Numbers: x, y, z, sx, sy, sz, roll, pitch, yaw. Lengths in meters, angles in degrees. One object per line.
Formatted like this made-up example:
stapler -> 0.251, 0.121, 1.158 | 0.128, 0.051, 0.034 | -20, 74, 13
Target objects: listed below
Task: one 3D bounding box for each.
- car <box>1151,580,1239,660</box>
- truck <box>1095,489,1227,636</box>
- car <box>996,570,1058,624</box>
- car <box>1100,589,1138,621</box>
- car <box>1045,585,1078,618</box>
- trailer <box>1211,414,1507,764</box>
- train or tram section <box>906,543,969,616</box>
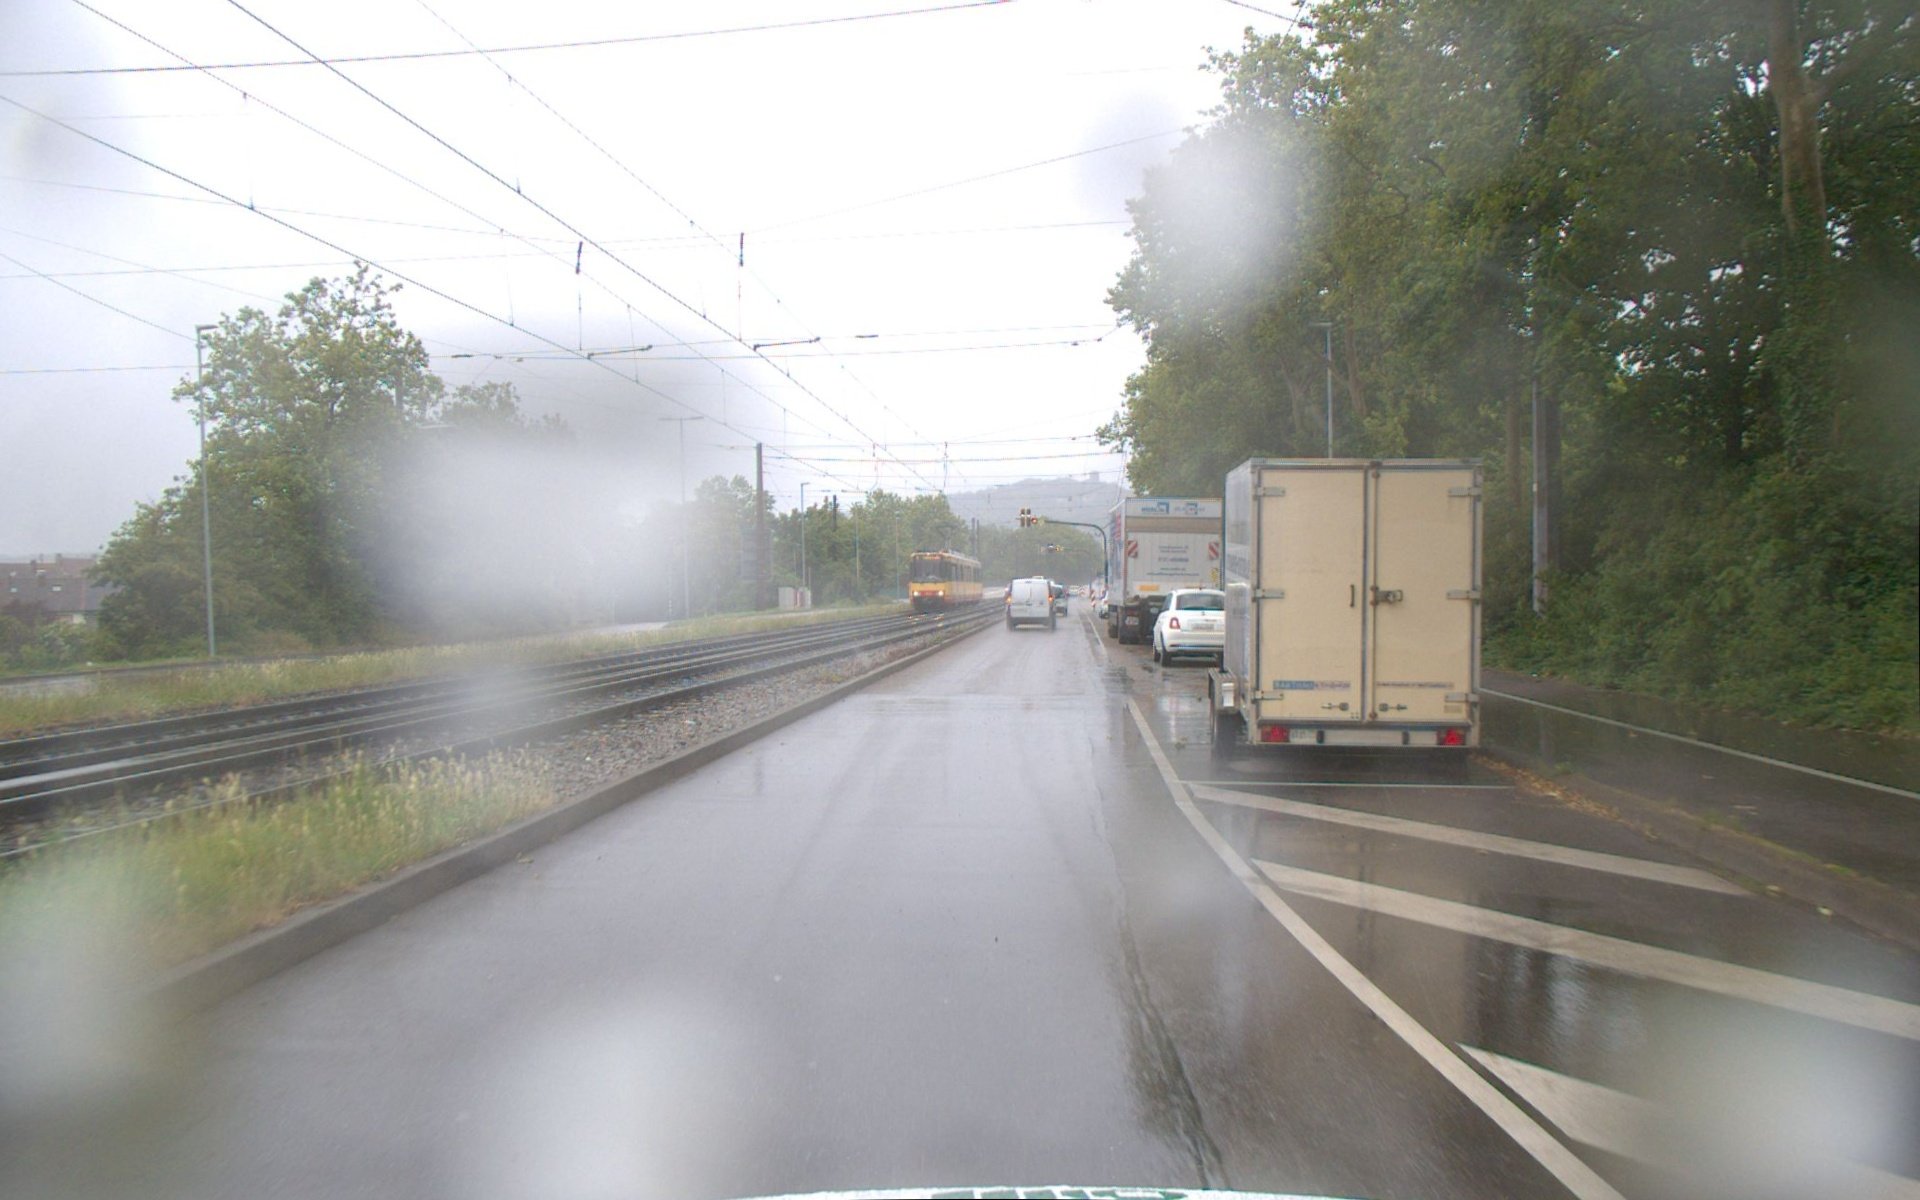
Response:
car -> 4.786, 0.370, 34.102 | 1.677, 1.555, 4.003 | 0, 1, 6
truck -> 5.533, -0.946, 47.232 | 2.718, 3.769, 9.853 | 0, 0, 1
car -> 2.384, -0.134, 60.164 | 1.953, 1.881, 3.998 | 0, 0, -2
car -> 8.012, 0.238, 83.516 | 1.781, 1.512, 4.483 | 1, 1, 4
car -> 5.400, 0.084, 87.773 | 1.749, 1.671, 3.970 | 0, 0, 4
trailer -> 3.640, -0.086, 16.187 | 2.120, 2.806, 5.680 | 0, 0, 6
train or tram section -> -1.284, -1.268, 102.878 | 2.747, 4.222, 13.027 | 0, 1, 4
